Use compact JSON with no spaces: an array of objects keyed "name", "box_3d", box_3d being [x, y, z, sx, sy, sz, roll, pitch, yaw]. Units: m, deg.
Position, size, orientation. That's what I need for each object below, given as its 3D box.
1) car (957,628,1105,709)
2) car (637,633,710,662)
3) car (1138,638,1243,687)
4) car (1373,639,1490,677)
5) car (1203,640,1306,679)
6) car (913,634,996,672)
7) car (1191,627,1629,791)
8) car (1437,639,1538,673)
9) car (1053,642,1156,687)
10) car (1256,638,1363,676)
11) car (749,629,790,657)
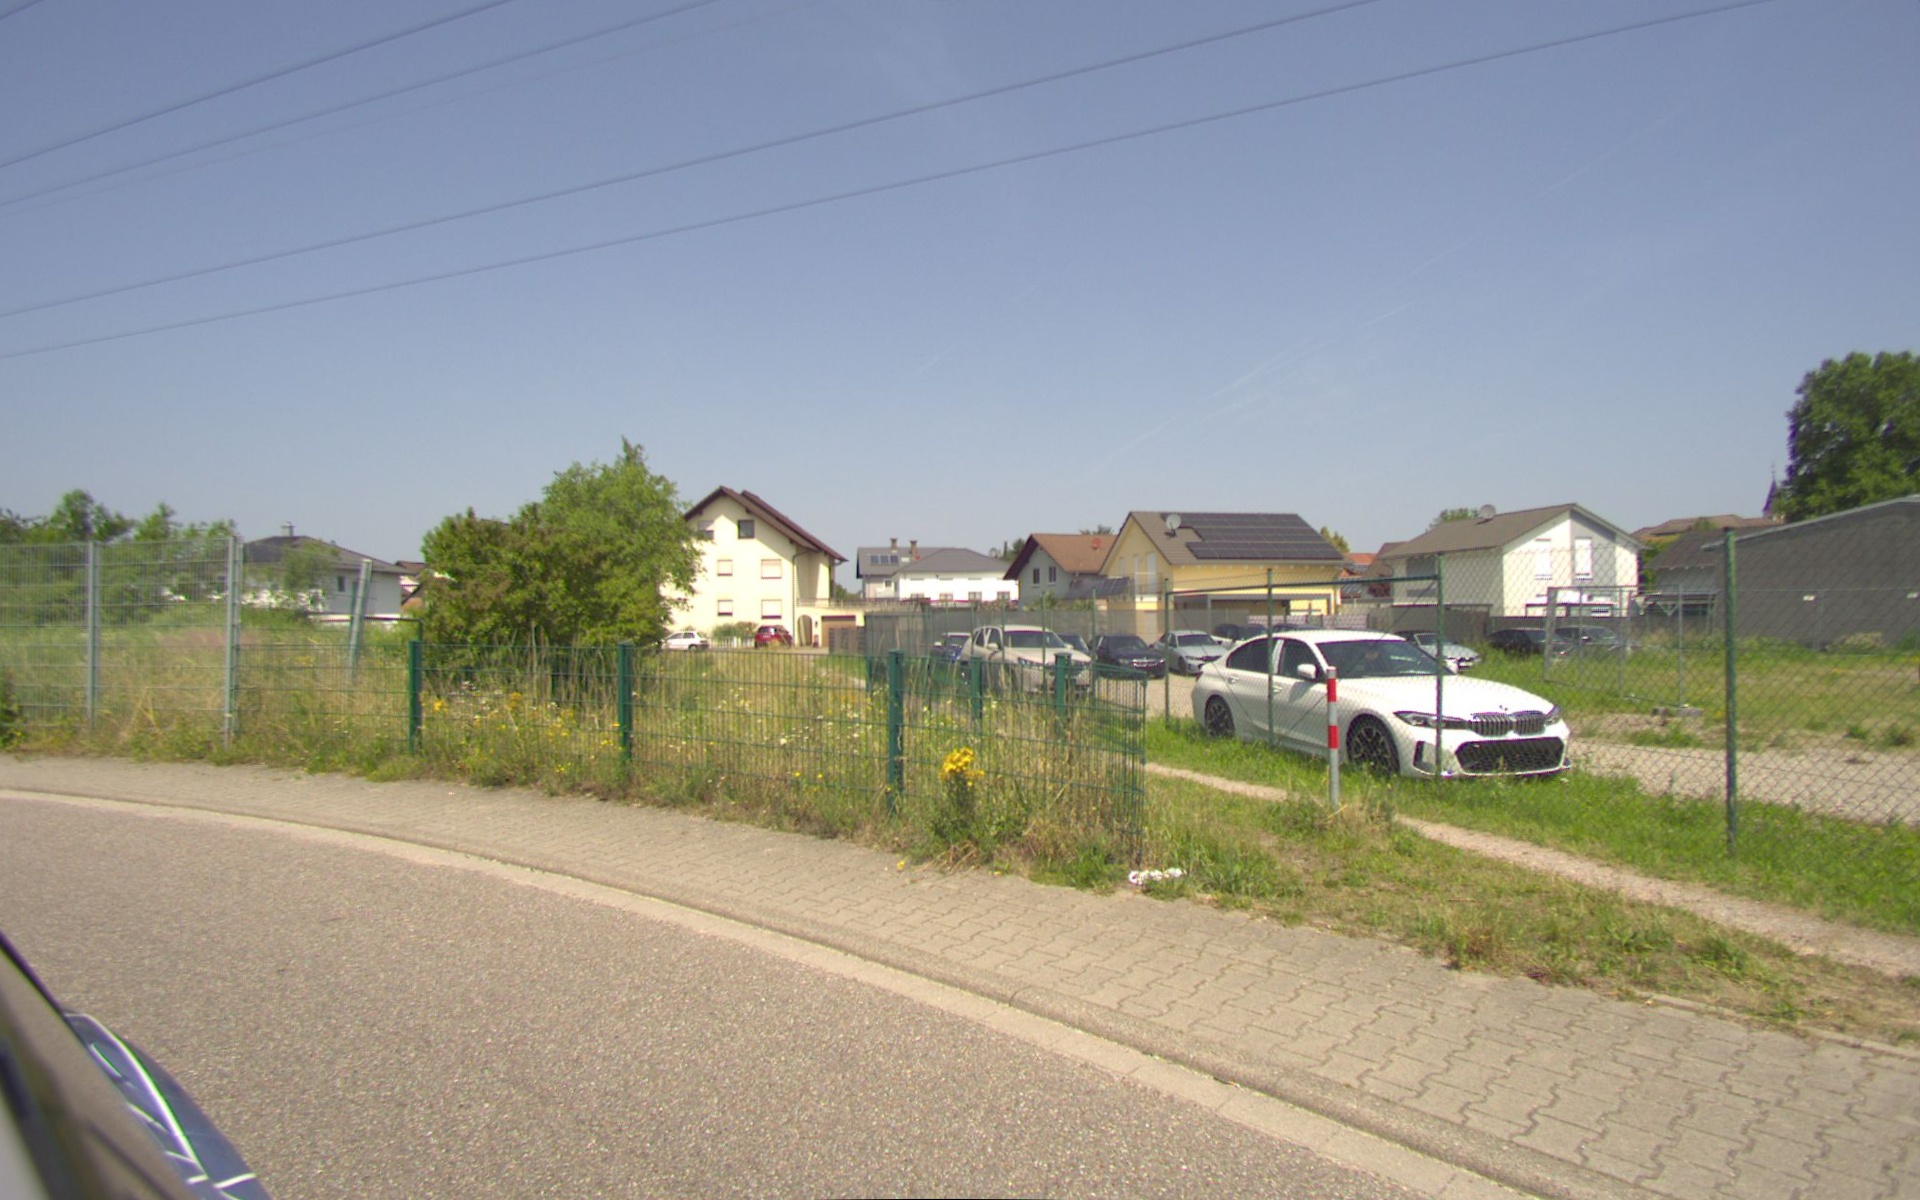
[{"name":"car","box_3d":[1.459,1.442,22.859,2.008,1.574,4.450,0,-1,-14]},{"name":"car","box_3d":[-17.801,2.945,62.960,4.031,1.697,1.863,-1,-1,3]},{"name":"car","box_3d":[8.252,2.194,36.574,2.008,1.548,4.146,0,-1,-14]},{"name":"car","box_3d":[17.802,2.161,38.415,1.764,1.245,4.146,0,-1,-14]},{"name":"car","box_3d":[10.689,2.126,37.053,1.764,1.245,4.146,0,-1,-14]},{"name":"car","box_3d":[-0.244,1.729,33.840,1.835,1.116,4.015,0,-1,-14]},{"name":"car","box_3d":[4.402,0.974,10.882,1.837,1.317,4.575,0,-1,-14]},{"name":"car","box_3d":[21.470,2.242,41.343,1.764,1.245,3.617,0,-1,-12]},{"name":"car","box_3d":[4.963,2.205,35.422,2.008,1.353,4.429,0,-1,-14]},{"name":"car","box_3d":[12.928,2.090,37.726,1.764,1.245,4.146,0,-1,-14]},{"name":"car","box_3d":[-12.508,2.809,66.689,1.842,1.741,4.132,0,-1,2]}]
